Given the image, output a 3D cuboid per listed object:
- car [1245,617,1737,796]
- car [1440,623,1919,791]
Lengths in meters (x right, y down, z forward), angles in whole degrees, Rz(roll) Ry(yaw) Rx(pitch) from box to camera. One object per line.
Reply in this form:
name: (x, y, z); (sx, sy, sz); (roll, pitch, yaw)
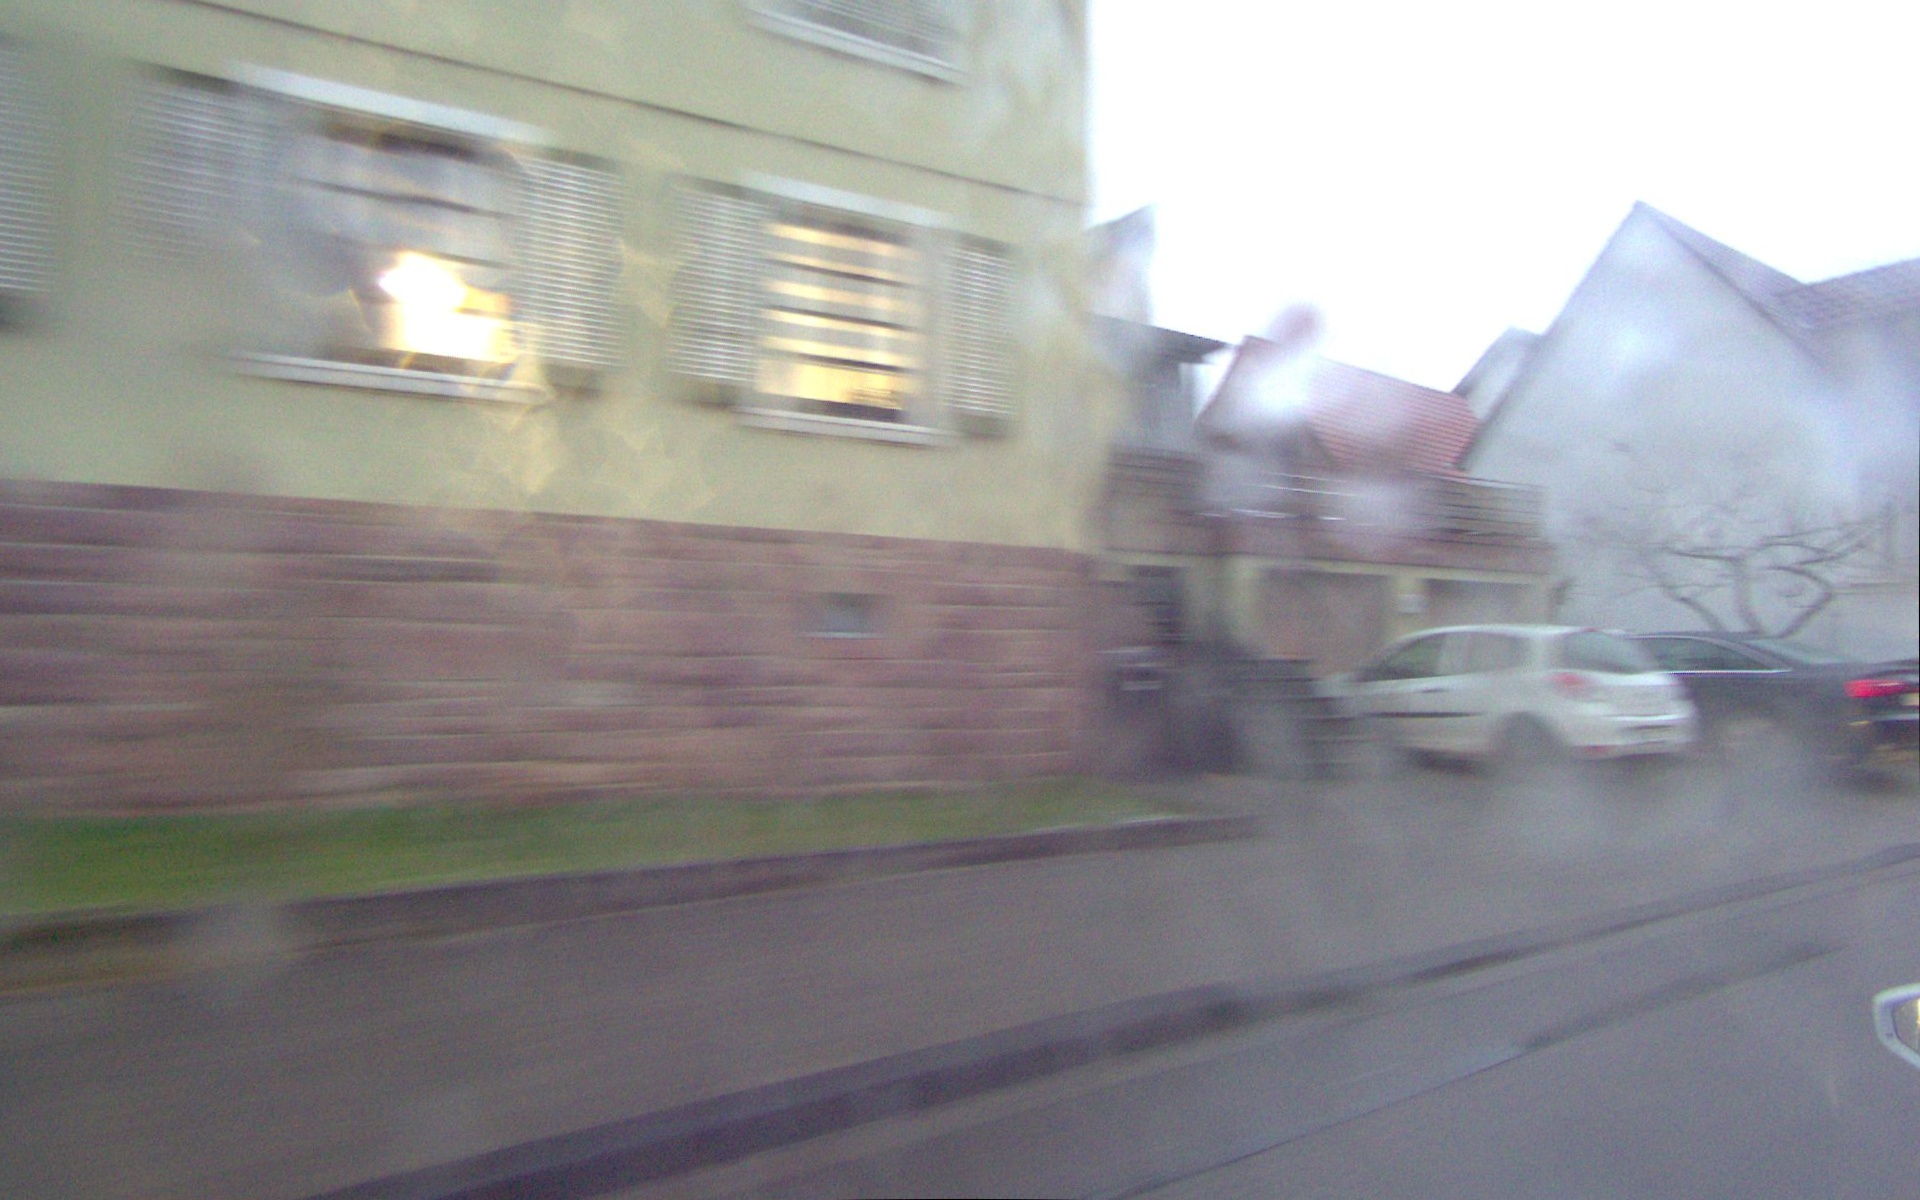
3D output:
car: (5.327, 0.979, 10.891); (1.865, 1.490, 4.593); (1, -2, -23)
car: (8.133, 1.040, 11.448); (1.974, 1.490, 4.577); (1, -2, -27)
